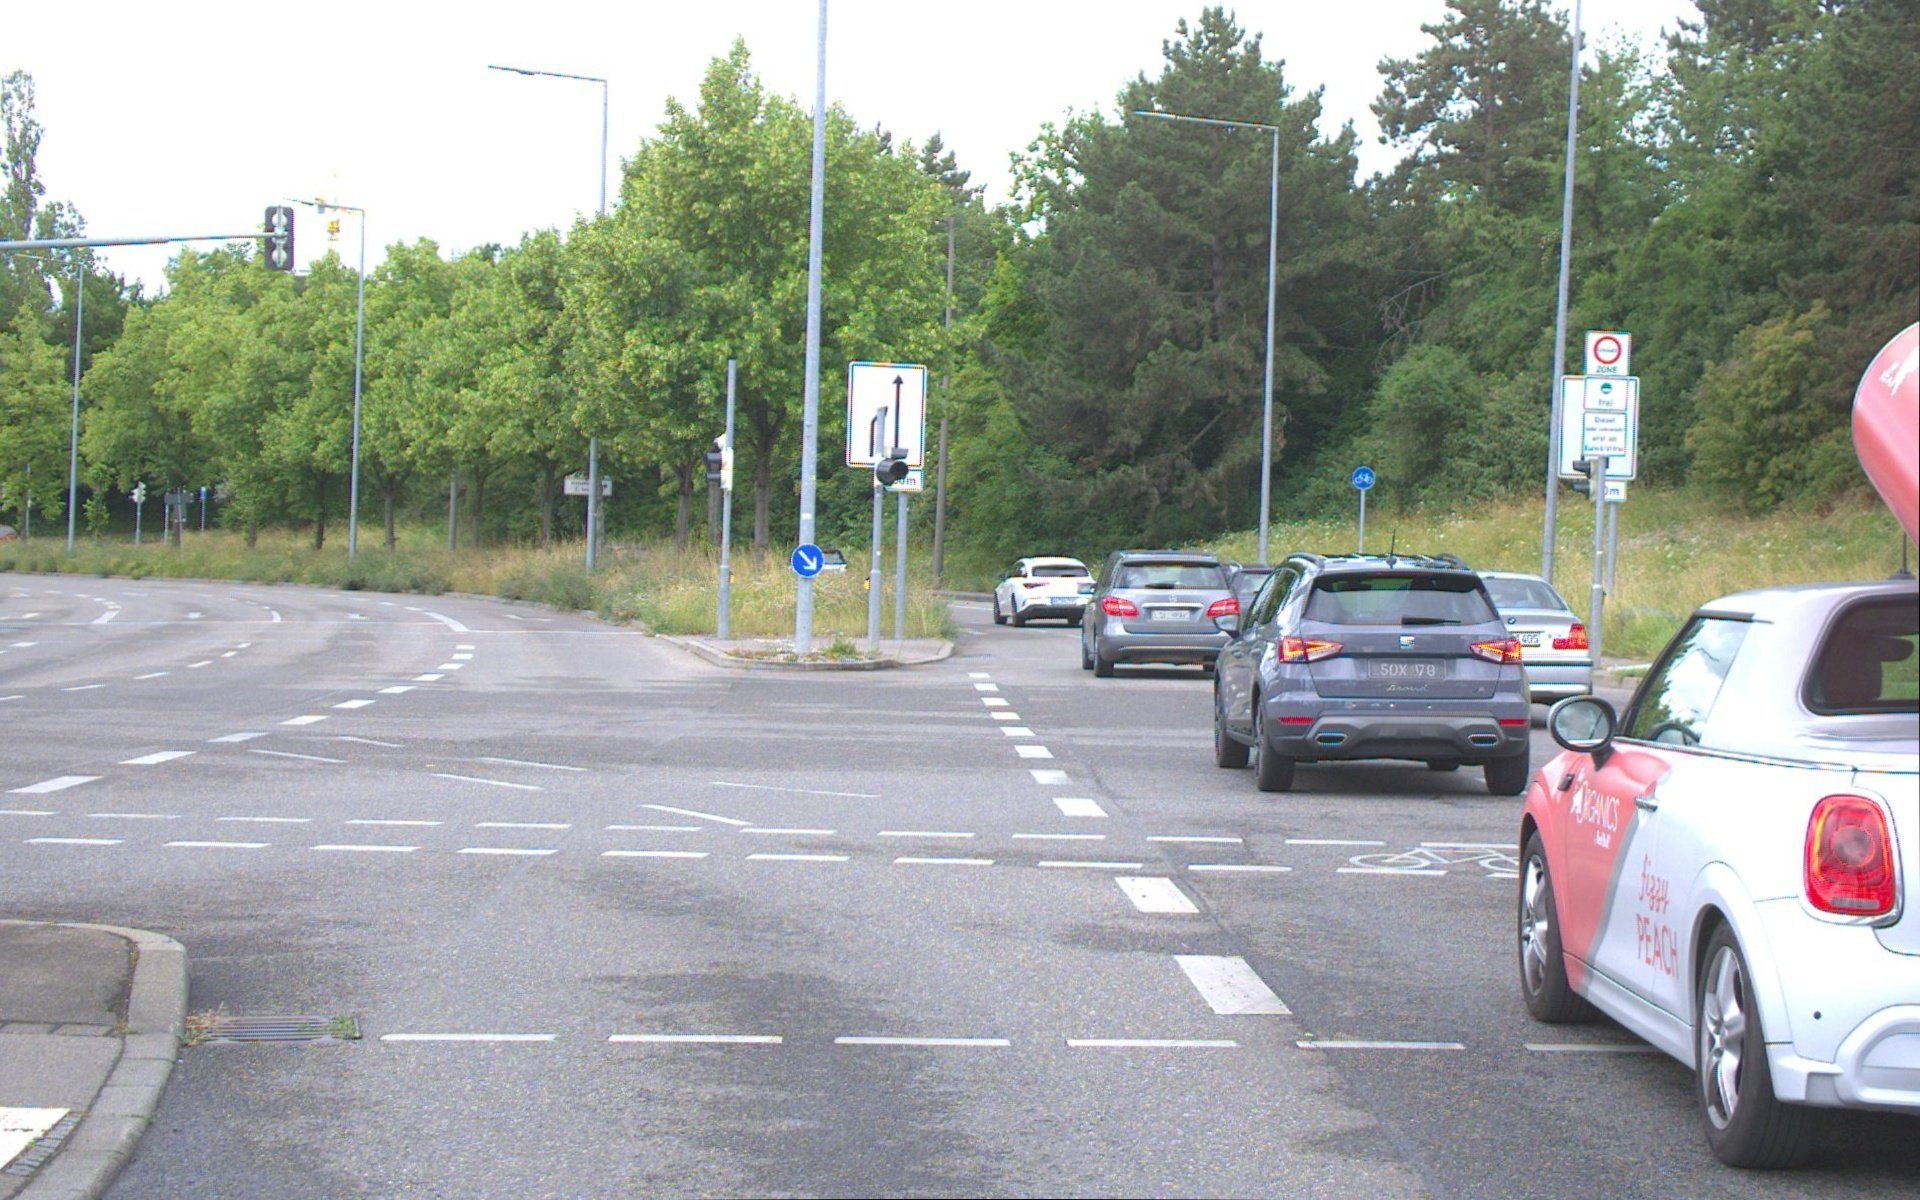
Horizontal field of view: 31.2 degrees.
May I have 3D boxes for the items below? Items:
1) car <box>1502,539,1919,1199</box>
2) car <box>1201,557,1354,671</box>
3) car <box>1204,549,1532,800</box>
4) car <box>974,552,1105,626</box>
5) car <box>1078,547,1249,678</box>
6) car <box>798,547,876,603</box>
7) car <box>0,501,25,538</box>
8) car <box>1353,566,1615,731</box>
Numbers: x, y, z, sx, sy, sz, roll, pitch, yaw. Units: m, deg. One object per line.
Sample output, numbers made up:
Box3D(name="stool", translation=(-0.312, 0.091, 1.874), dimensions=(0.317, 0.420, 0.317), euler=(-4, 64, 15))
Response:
Box3D(name="car", translation=(2.686, 0.611, 9.399), dimensions=(1.821, 1.500, 3.495), euler=(1, 1, 0))
Box3D(name="car", translation=(4.575, 0.167, 50.057), dimensions=(1.746, 1.480, 4.356), euler=(1, 2, -1))
Box3D(name="car", translation=(2.627, 0.429, 22.919), dimensions=(1.624, 1.488, 3.837), euler=(1, 1, -1))
Box3D(name="car", translation=(1.640, -0.246, 72.448), dimensions=(1.844, 1.501, 4.532), euler=(1, 0, -10))
Box3D(name="car", translation=(2.448, 0.116, 42.208), dimensions=(1.746, 1.503, 4.048), euler=(1, 1, -1))
Box3D(name="car", translation=(-3.426, -0.711, 95.612), dimensions=(1.591, 1.511, 2.767), euler=(1, 0, -15))
Box3D(name="car", translation=(-43.767, -3.618, 154.784), dimensions=(1.785, 1.598, 3.886), euler=(0, 1, -39))
Box3D(name="car", translation=(4.859, 0.406, 32.428), dimensions=(1.746, 1.378, 4.291), euler=(1, 1, -1))
